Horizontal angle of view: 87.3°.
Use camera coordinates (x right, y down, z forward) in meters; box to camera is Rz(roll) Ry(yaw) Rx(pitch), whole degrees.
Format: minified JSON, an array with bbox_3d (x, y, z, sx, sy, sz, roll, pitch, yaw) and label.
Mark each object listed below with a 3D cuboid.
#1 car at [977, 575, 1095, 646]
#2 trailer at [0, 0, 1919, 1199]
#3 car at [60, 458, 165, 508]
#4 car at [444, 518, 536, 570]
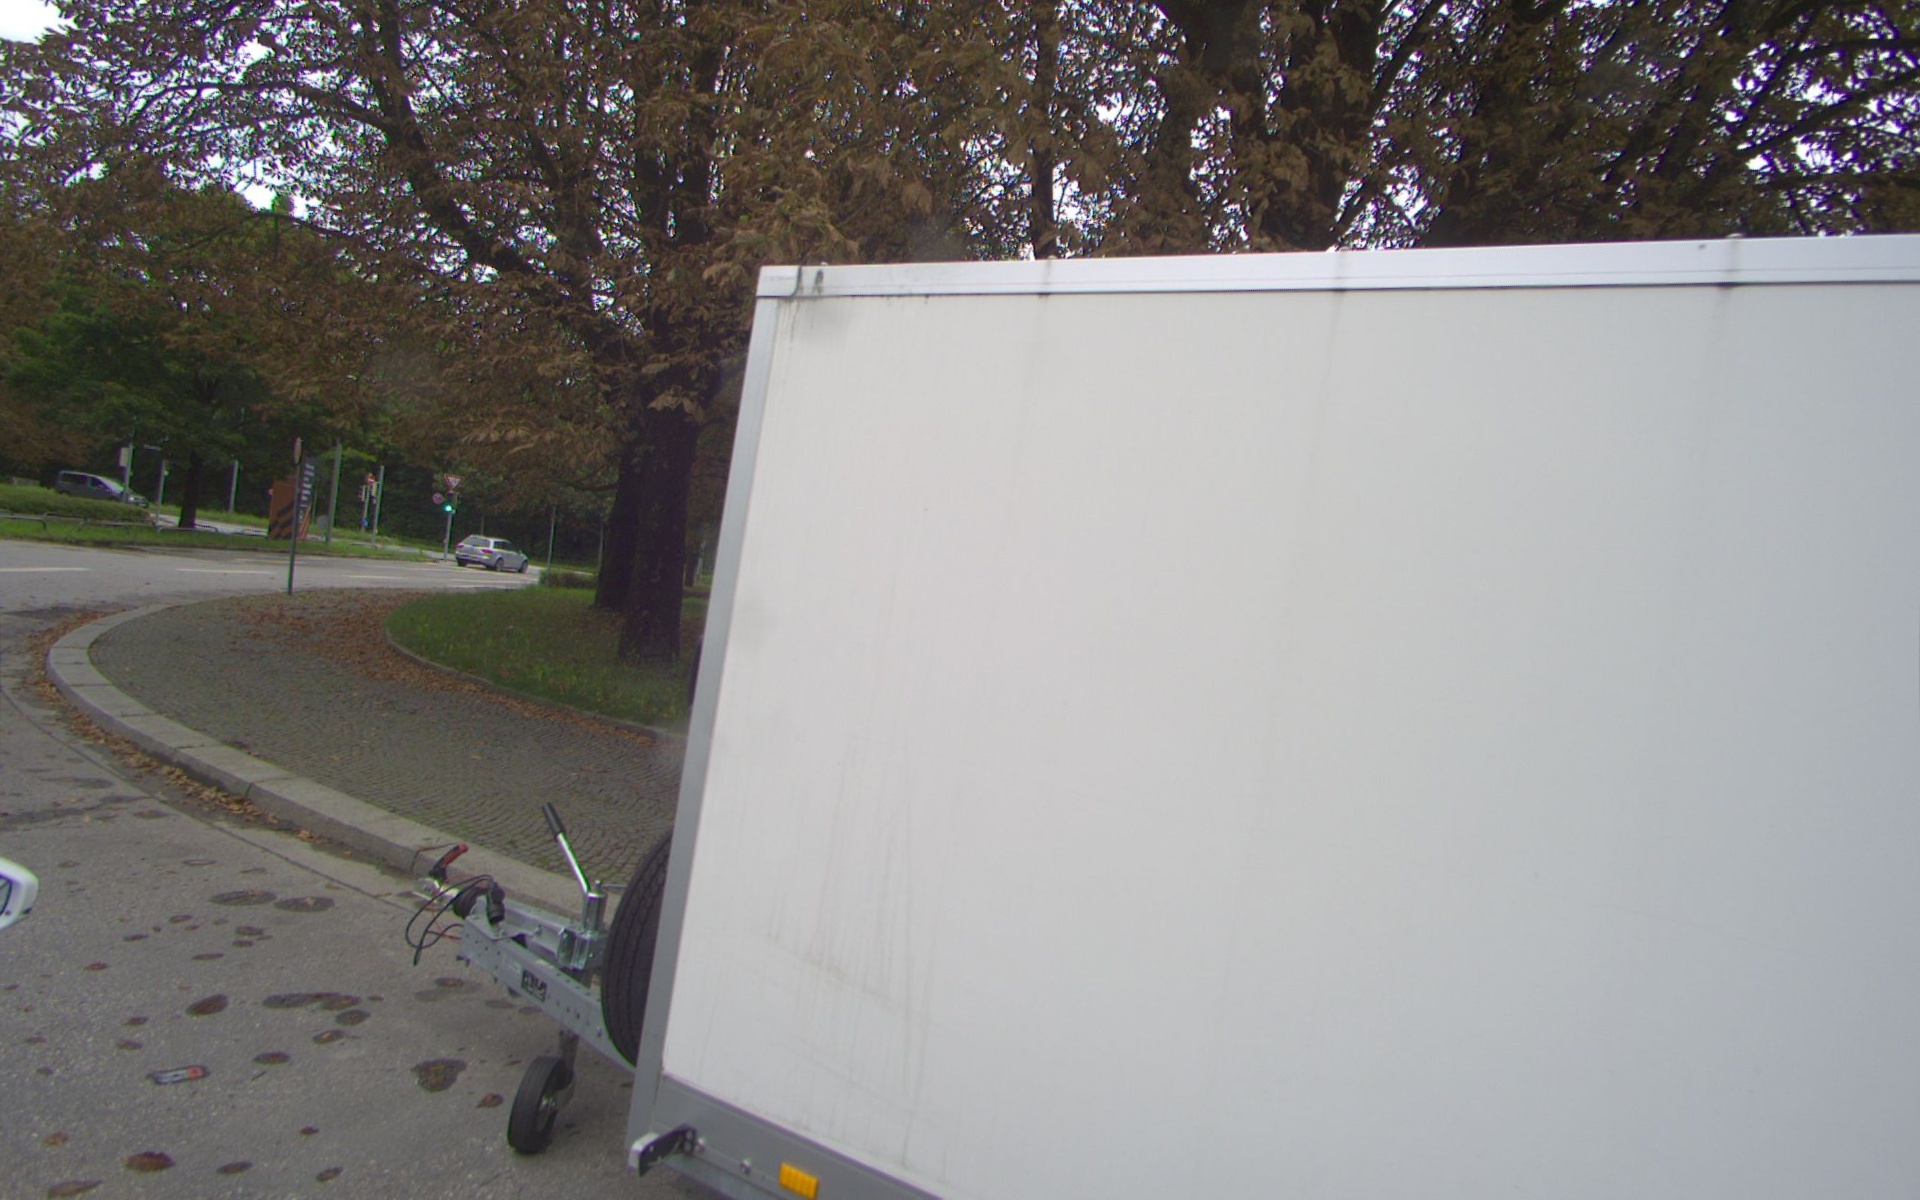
[{"bbox_3d":[3.787,0.520,51.065,5.494,2.767,2.076,8,0,-1],"label":"car"},{"bbox_3d":[0.104,0.308,2.218,4.751,2.038,1.812,7,0,29],"label":"trailer"},{"bbox_3d":[-47.890,-6.601,56.947,3.930,2.038,1.998,8,0,-6],"label":"car"},{"bbox_3d":[-20.880,-2.450,44.889,1.963,1.771,4.125,8,0,0],"label":"car"}]
